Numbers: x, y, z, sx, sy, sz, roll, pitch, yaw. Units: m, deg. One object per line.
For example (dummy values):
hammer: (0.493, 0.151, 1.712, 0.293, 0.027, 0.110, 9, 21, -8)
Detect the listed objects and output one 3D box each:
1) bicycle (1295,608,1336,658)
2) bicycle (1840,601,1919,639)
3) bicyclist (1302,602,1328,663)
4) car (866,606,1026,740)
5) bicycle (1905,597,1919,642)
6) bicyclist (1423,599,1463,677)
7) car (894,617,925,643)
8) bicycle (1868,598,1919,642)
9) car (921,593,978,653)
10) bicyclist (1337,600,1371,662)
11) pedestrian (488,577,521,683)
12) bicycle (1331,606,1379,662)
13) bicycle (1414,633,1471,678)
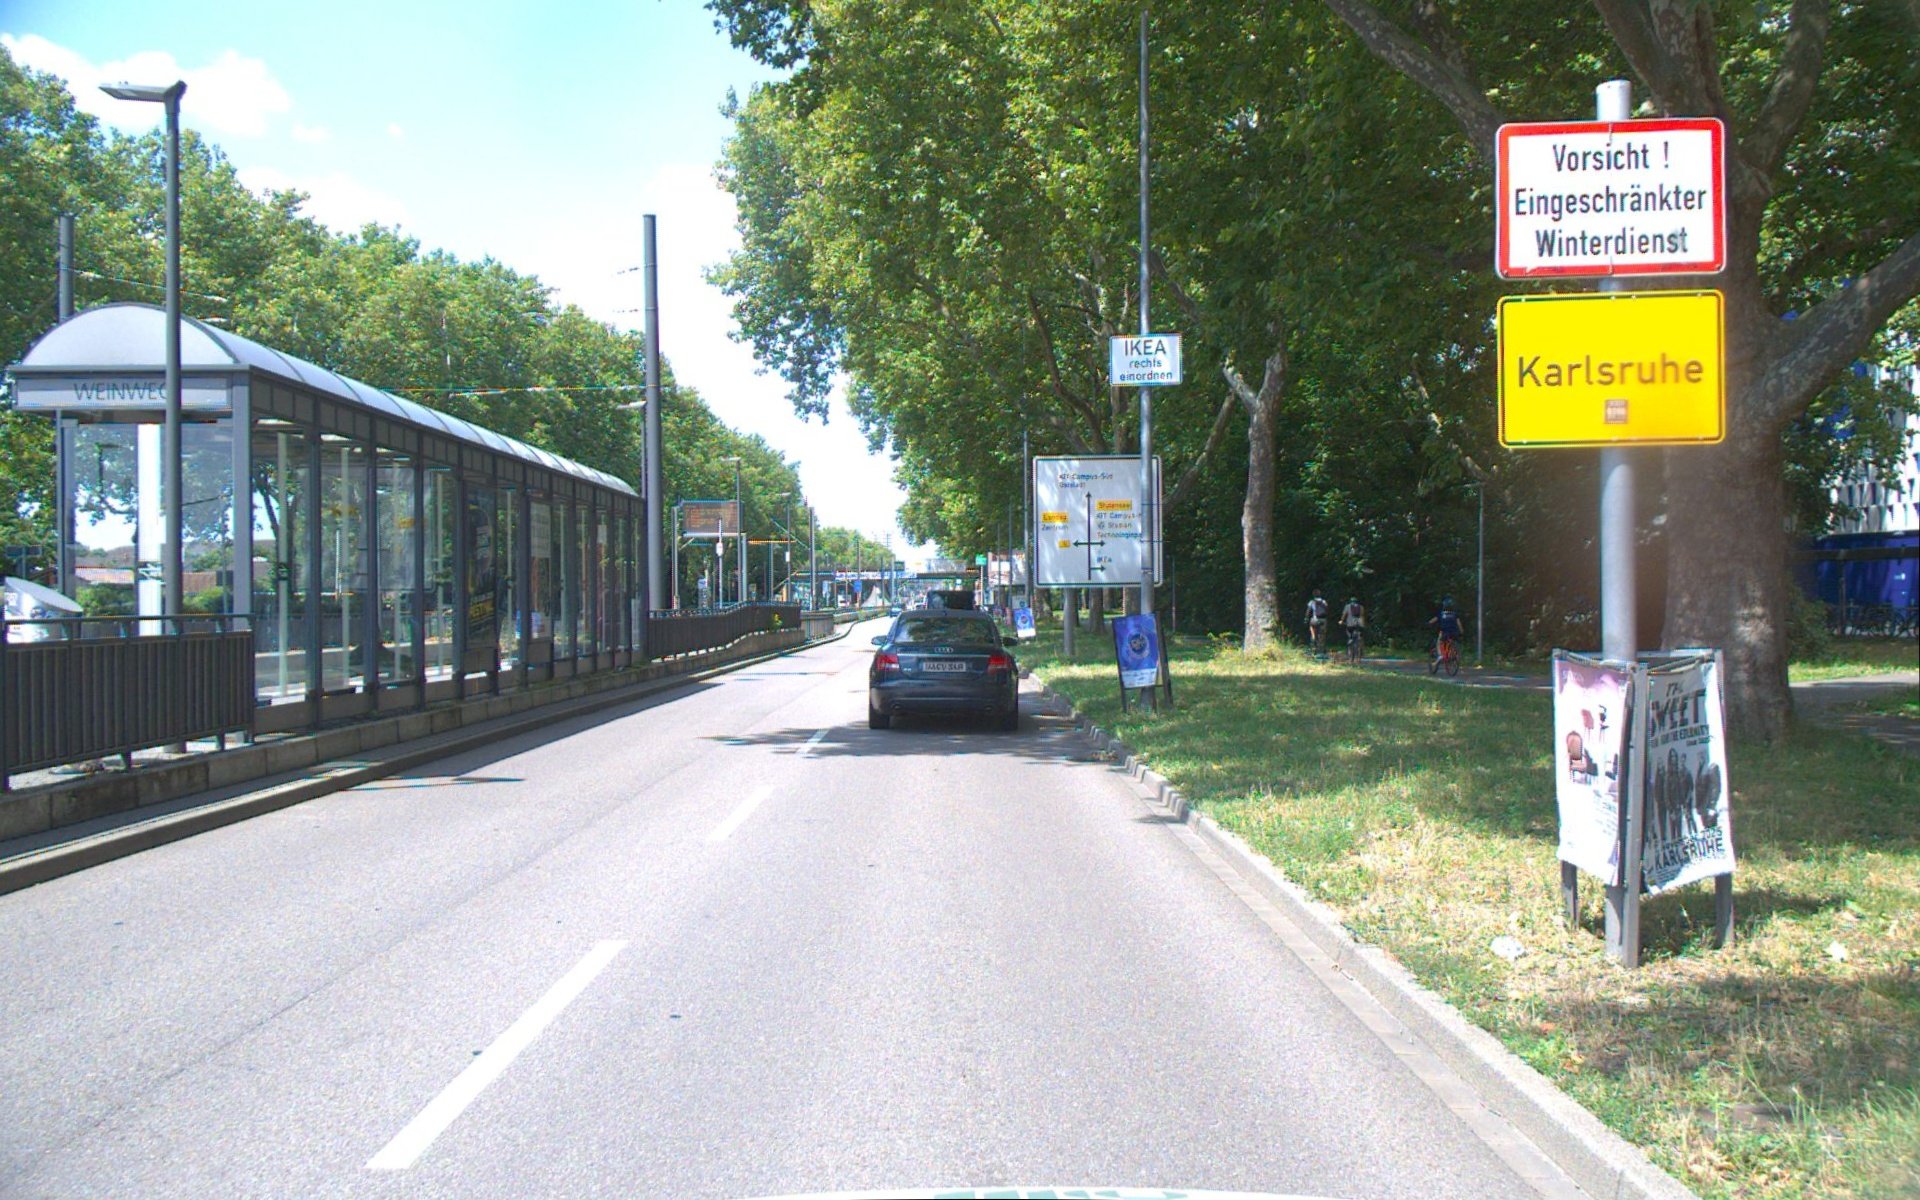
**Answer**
bicycle: (10.519, 0.956, 49.055, 0.598, 1.445, 2.661, -1, 0, -1)
bicycle: (25.136, 0.527, 44.593, 2.496, 0.987, 0.758, 0, 0, -5)
bicyclist: (10.508, 0.955, 48.906, 0.585, 1.776, 0.843, 0, 0, -1)
car: (-0.218, 0.847, 20.732, 1.805, 1.510, 3.998, 0, -1, -2)
bicycle: (25.355, 0.488, 41.898, 2.496, 1.130, 0.758, 0, 0, -5)
bicyclist: (10.261, 0.796, 35.127, 0.610, 1.638, 0.817, 0, 0, 0)
car: (-2.986, 1.768, 97.068, 1.808, 1.490, 3.998, 0, -1, -2)
bicycle: (25.201, 0.508, 43.324, 2.496, 1.130, 0.758, 0, 0, -5)
car: (-0.331, 0.798, 58.002, 1.810, 1.994, 4.145, 1, -1, 2)
bicyclist: (10.545, 0.826, 44.342, 0.645, 1.627, 1.053, 0, -1, 0)
pedestrian: (-6.653, 0.438, 24.156, 0.412, 1.534, 0.393, 0, -1, -24)
bicycle: (10.538, 0.886, 44.218, 0.598, 1.445, 2.661, -1, 0, -1)
bicycle: (10.259, 1.168, 35.203, 0.632, 0.902, 2.023, 0, 0, 0)
